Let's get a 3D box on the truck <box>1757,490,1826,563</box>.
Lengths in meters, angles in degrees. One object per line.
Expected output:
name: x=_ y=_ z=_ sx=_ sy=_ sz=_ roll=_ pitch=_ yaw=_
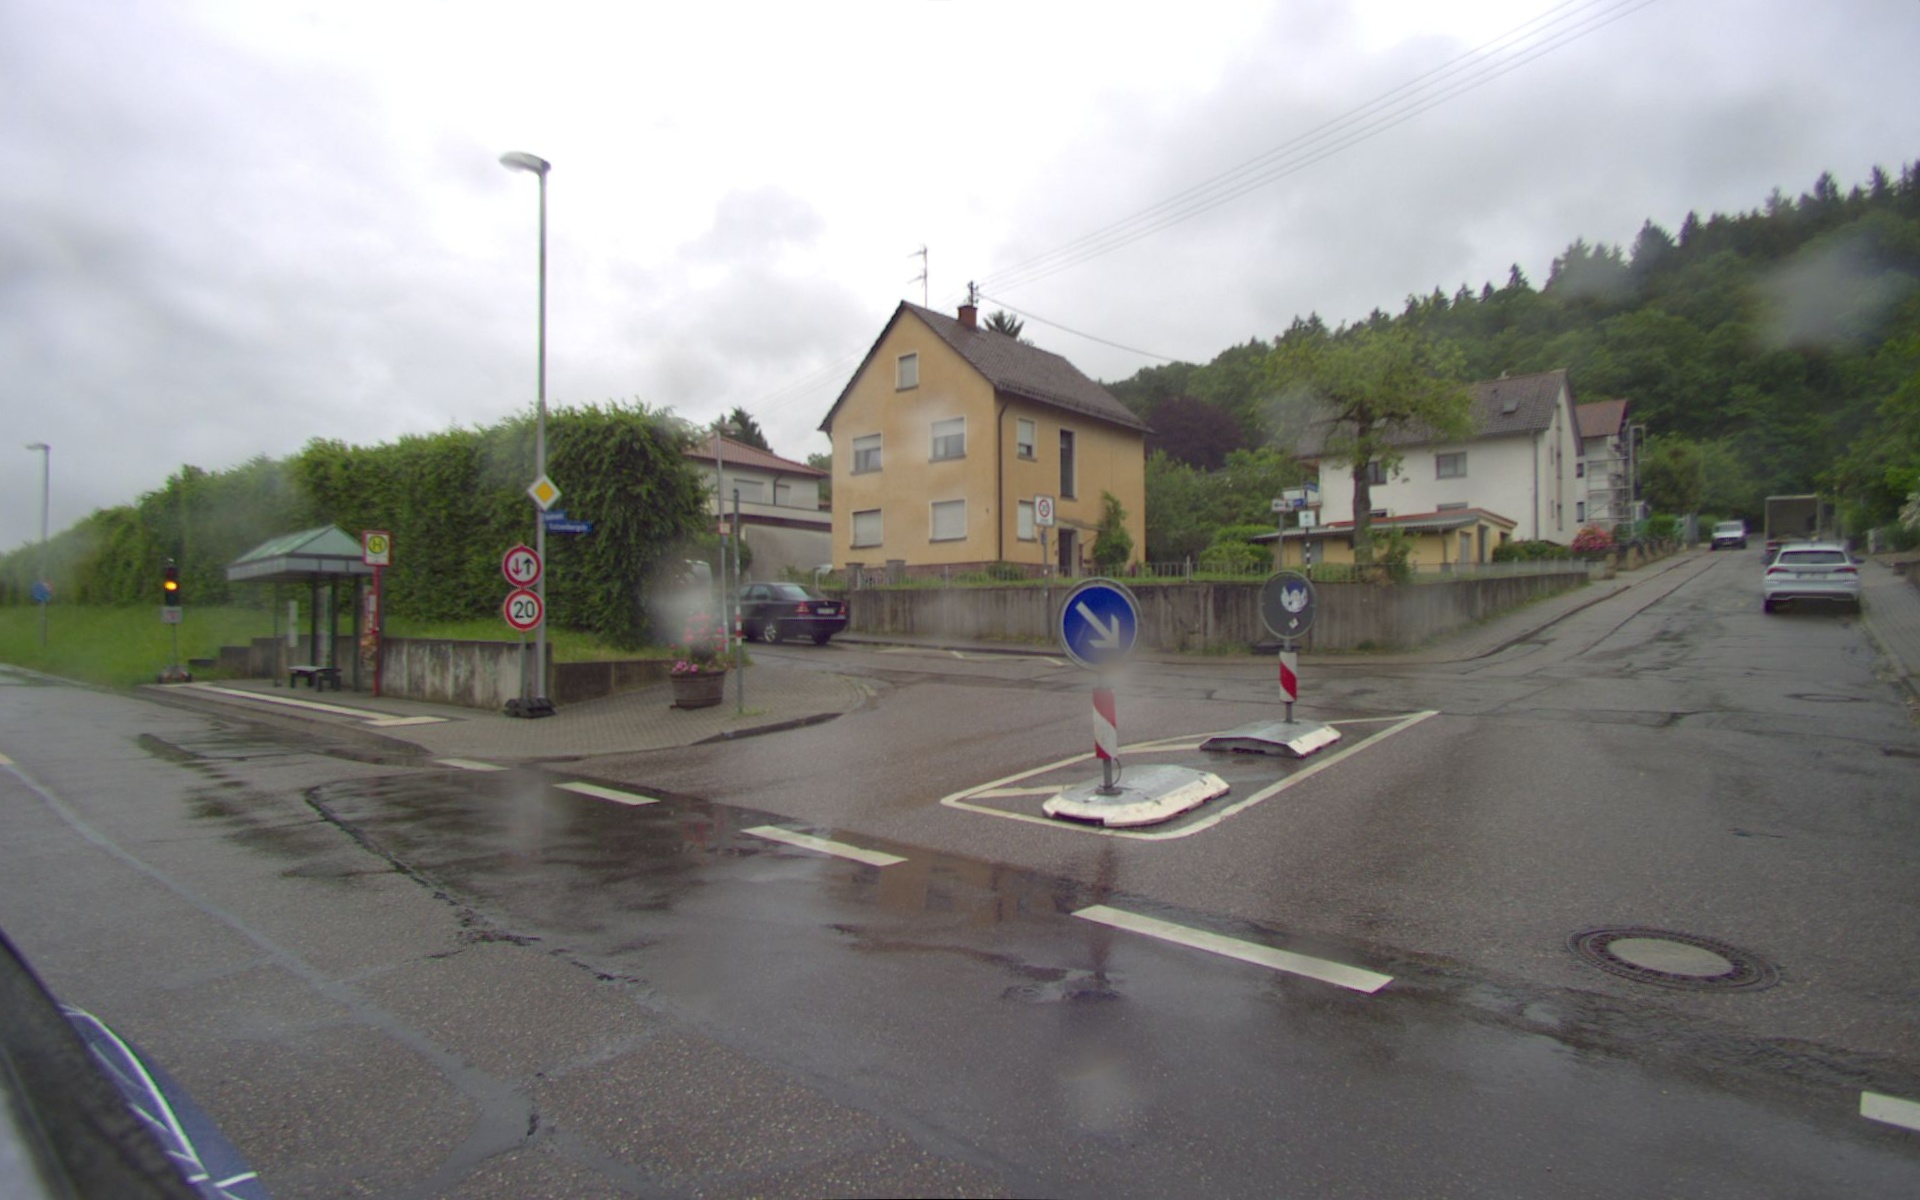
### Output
truck: x=42.315 y=-3.647 z=51.417 sx=2.452 sy=3.377 sz=6.567 roll=-1 pitch=1 yaw=41

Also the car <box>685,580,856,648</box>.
car: x=-4.562 y=0.273 z=24.040 sx=4.221 sy=1.399 sz=1.726 roll=2 pitch=1 yaw=41

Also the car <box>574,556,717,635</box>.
car: x=-8.748 y=-0.166 z=27.991 sx=4.318 sy=2.020 sz=1.765 roll=2 pitch=1 yaw=41

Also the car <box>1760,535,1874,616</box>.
car: x=20.115 y=-0.617 z=23.751 sx=1.900 sy=1.525 sz=3.840 roll=-1 pitch=5 yaw=41

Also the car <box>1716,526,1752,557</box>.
car: x=53.036 y=-3.989 z=69.394 sx=1.914 sy=2.028 sz=3.950 roll=0 pitch=2 yaw=37
